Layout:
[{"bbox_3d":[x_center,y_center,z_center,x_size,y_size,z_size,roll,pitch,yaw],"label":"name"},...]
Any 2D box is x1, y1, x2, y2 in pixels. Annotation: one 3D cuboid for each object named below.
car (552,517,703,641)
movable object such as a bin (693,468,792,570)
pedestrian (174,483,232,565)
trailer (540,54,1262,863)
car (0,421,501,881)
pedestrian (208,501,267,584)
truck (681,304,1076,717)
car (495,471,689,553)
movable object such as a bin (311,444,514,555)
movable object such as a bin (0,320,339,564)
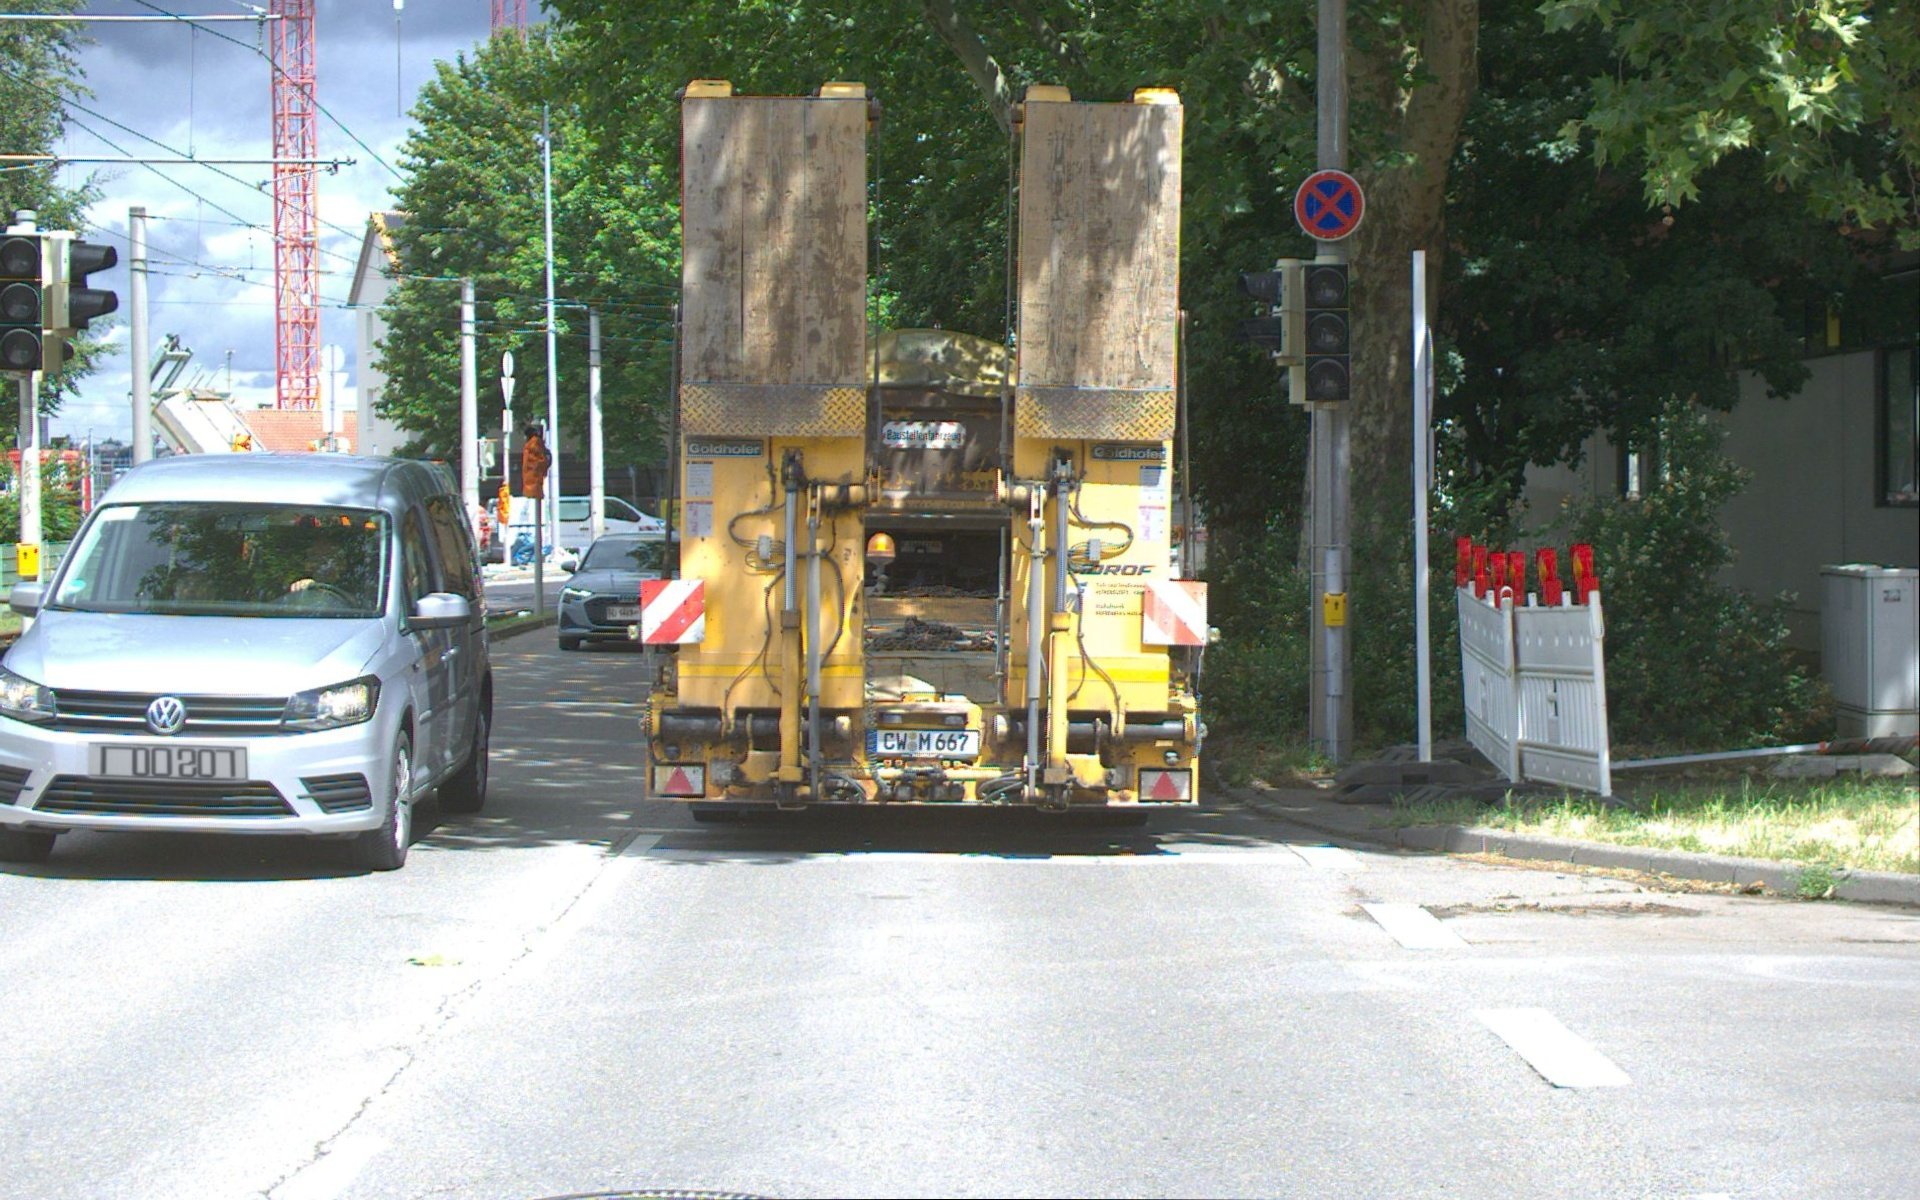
[{"bbox_3d":[-4.046,-0.295,42.223,1.636,1.430,3.852,0,2,-2],"label":"car"},{"bbox_3d":[-4.412,-1.651,69.892,1.399,2.007,2.555,1,1,11],"label":"movable object such as a bin"},{"bbox_3d":[-15.340,-1.548,69.636,0.885,1.639,0.900,0,2,-32],"label":"pedestrian"},{"bbox_3d":[-0.441,-0.742,20.764,3.154,3.540,11.098,1,1,-2],"label":"trailer"},{"bbox_3d":[-3.284,0.135,16.222,1.753,1.834,4.647,1,2,-2],"label":"car"},{"bbox_3d":[-14.371,-1.142,68.390,0.885,1.639,0.837,0,2,-34],"label":"pedestrian"},{"bbox_3d":[-0.769,-0.766,30.263,2.989,3.124,7.889,1,1,-2],"label":"truck"},{"bbox_3d":[-10.287,-2.452,95.994,5.088,2.095,1.977,1,1,-14],"label":"car"},{"bbox_3d":[-13.256,-2.445,83.246,4.373,2.620,2.217,1,1,26],"label":"movable object such as a bin"},{"bbox_3d":[-18.888,-3.608,79.249,9.215,5.396,2.660,1,1,26],"label":"movable object such as a bin"}]
